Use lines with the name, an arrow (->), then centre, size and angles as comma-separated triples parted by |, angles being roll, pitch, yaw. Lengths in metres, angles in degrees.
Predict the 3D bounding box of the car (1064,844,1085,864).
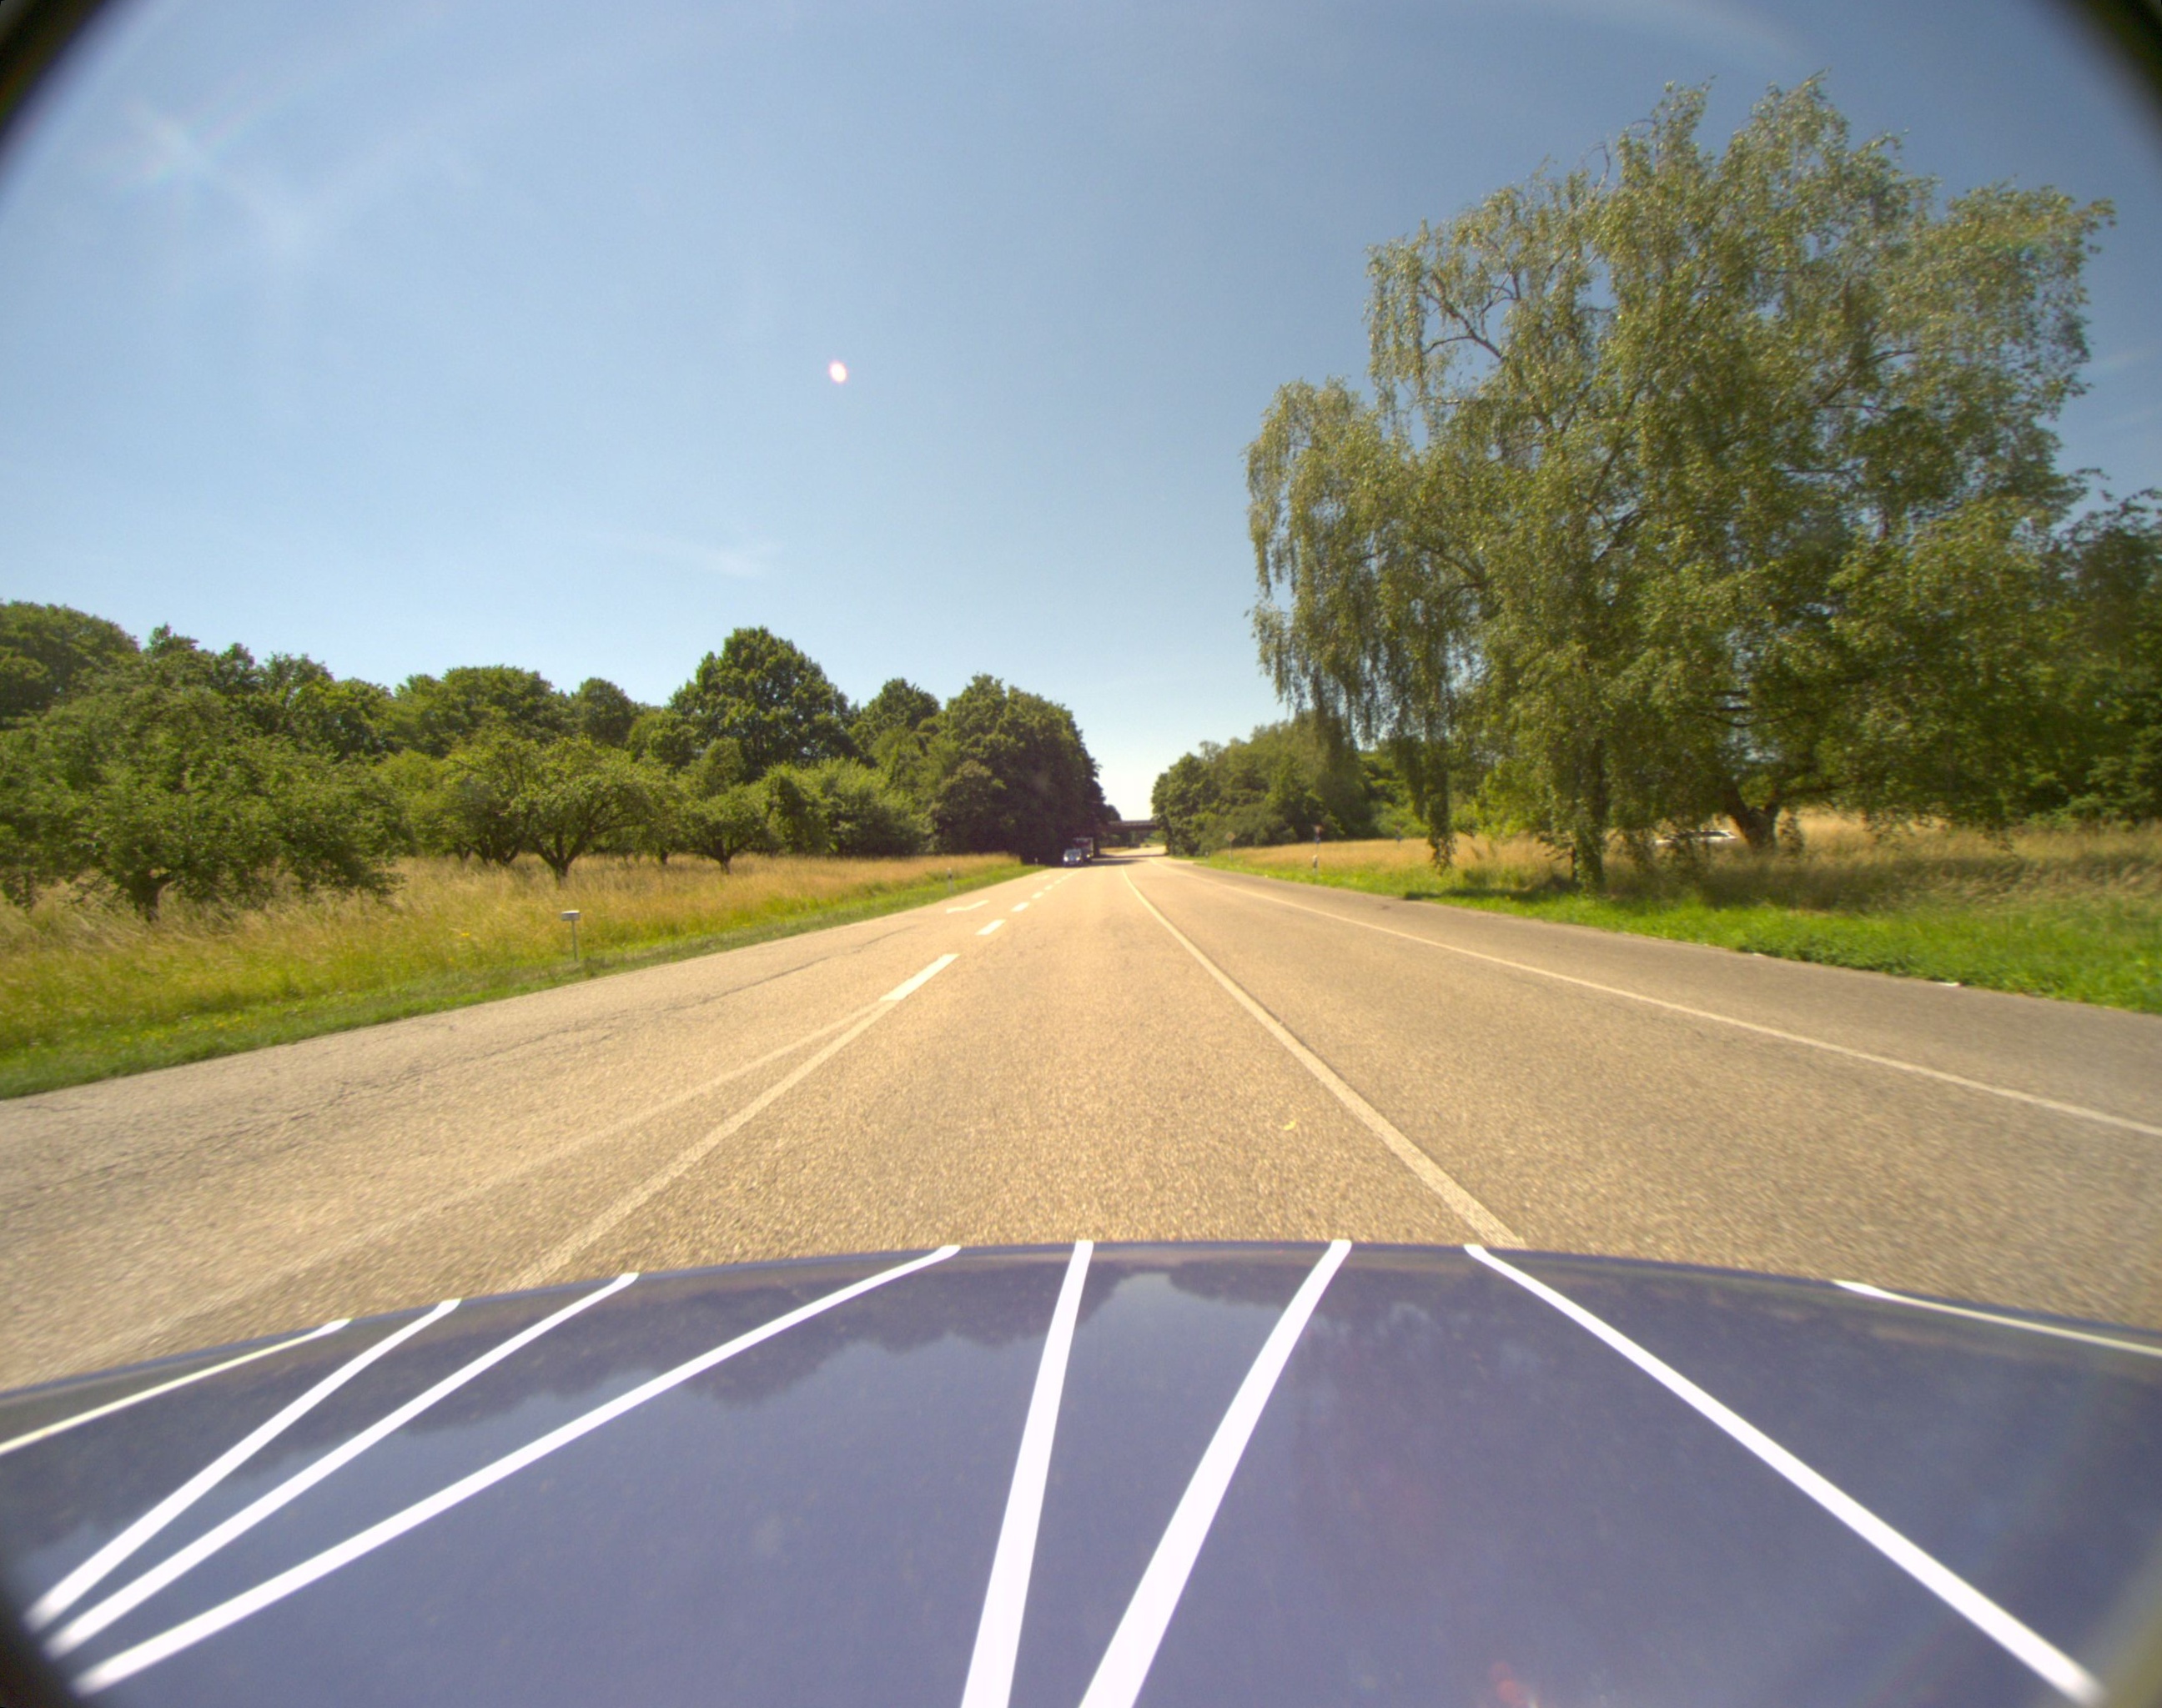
car -> -0.601, -0.031, 72.918 | 1.746, 1.833, 4.000 | -2, 1, 2

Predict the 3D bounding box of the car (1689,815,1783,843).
car -> 37.132, -1.390, 43.193 | 3.989, 1.458, 1.667 | -1, 1, 39

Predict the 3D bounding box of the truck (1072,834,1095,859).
truck -> 0.358, -0.921, 93.405 | 2.457, 2.927, 6.973 | -2, 1, 2
